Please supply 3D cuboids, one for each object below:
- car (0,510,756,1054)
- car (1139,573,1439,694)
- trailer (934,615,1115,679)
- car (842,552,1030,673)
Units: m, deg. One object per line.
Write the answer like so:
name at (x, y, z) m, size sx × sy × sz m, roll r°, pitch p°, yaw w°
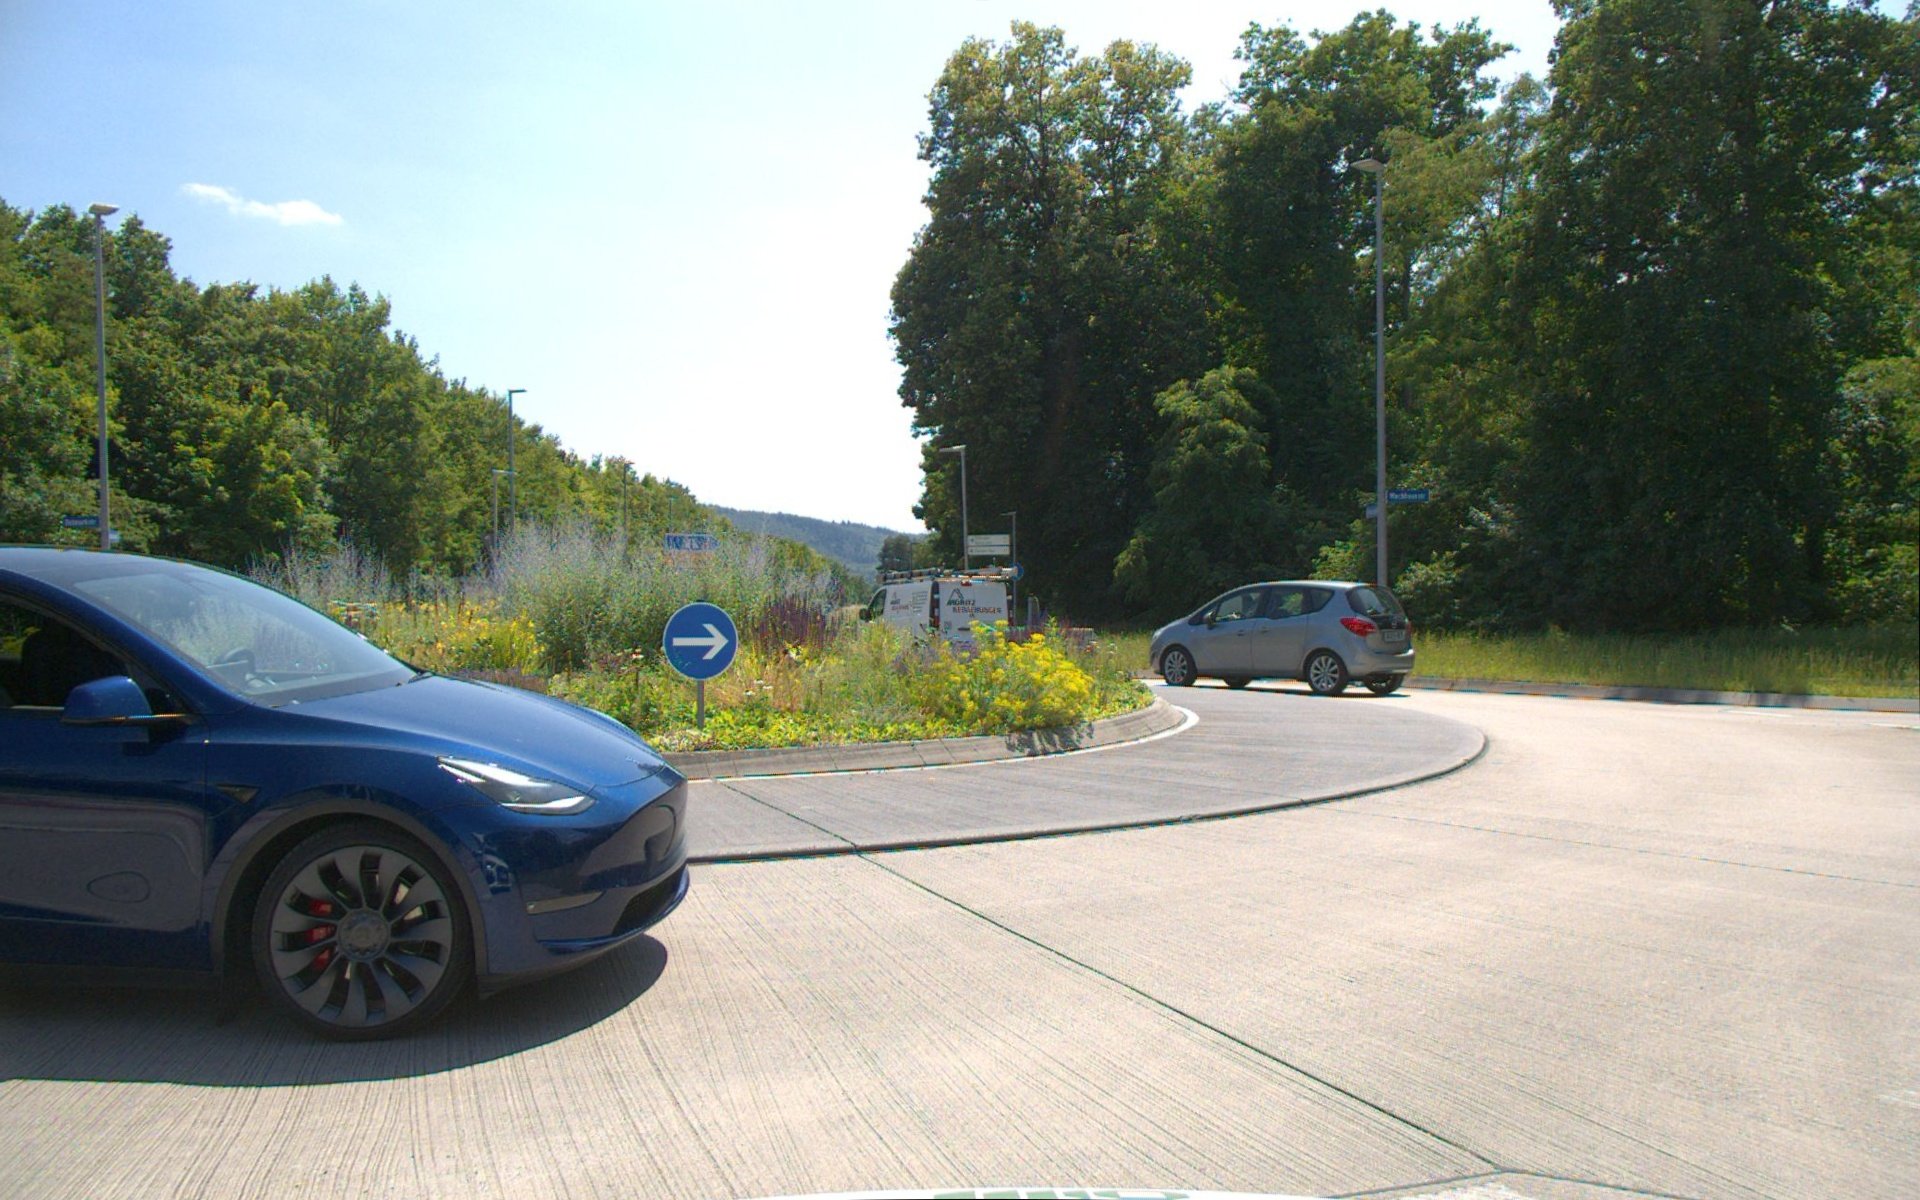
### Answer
car at (-3.275, 0.581, 6.244) m, size 4.642 × 1.668 × 2.001 m, roll -1°, pitch 0°, yaw 4°
car at (4.797, 0.466, 24.435) m, size 4.055 × 1.635 × 1.779 m, roll 0°, pitch -1°, yaw 43°
trailer at (1.154, 0.844, 31.056) m, size 2.096 × 1.116 × 3.325 m, roll 0°, pitch -1°, yaw -27°
car at (-0.601, 0.263, 34.809) m, size 2.139 × 2.357 × 4.941 m, roll 0°, pitch -1°, yaw -25°
